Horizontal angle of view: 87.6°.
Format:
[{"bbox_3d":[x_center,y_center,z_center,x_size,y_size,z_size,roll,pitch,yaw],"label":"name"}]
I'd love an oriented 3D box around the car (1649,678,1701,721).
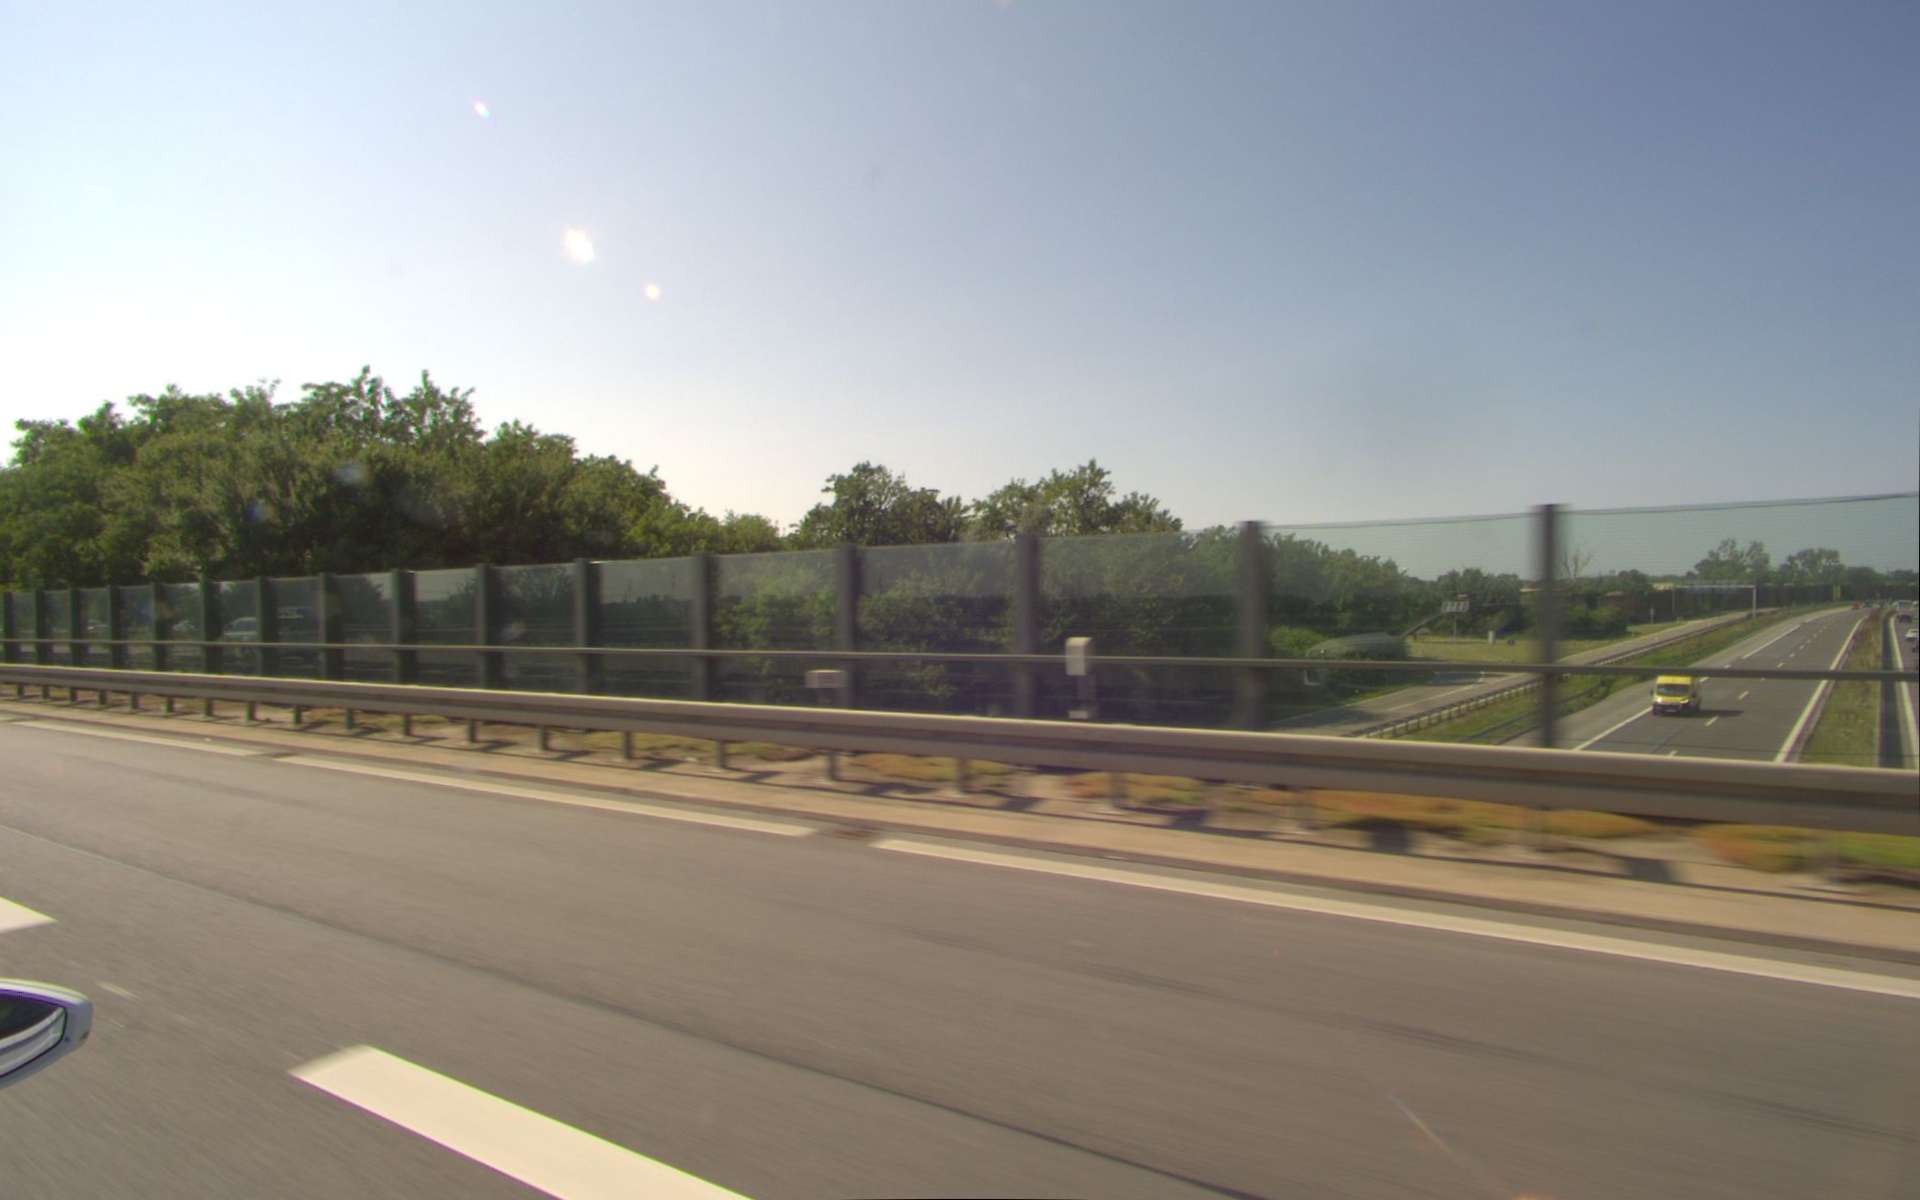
[{"bbox_3d":[45.372,6.234,63.491,2.112,2.374,4.946,0,-1,43],"label":"car"}]
